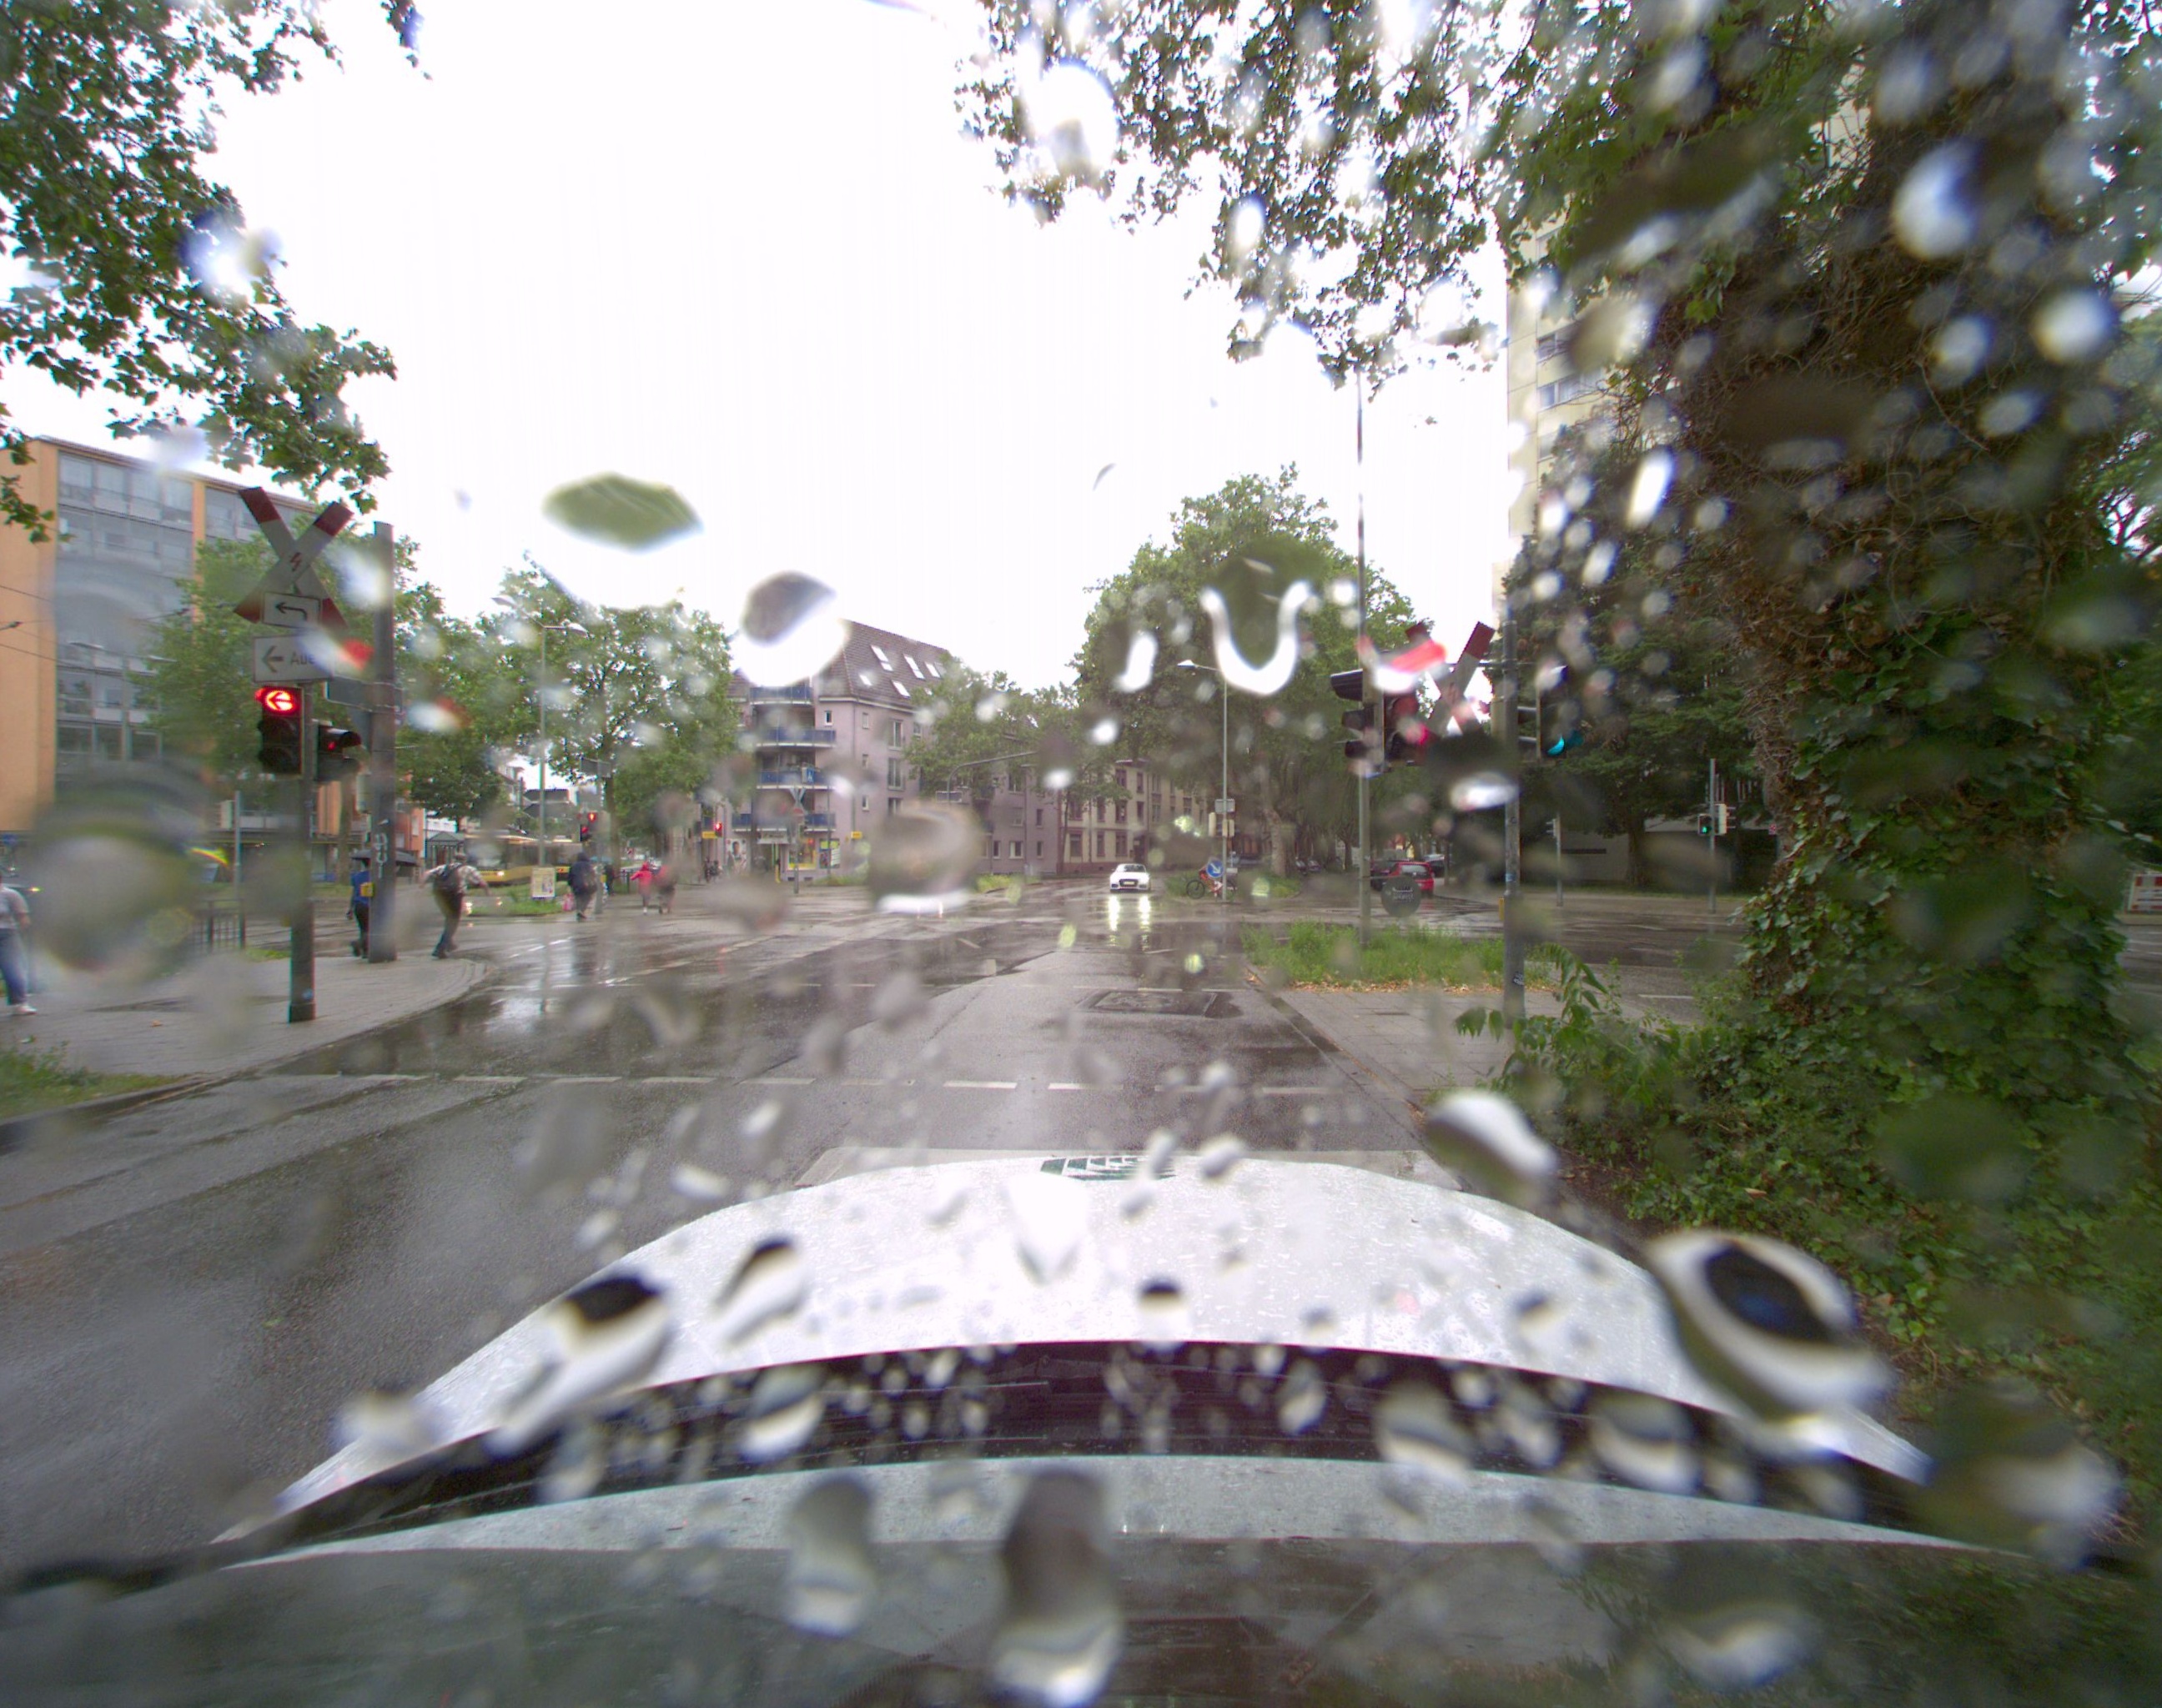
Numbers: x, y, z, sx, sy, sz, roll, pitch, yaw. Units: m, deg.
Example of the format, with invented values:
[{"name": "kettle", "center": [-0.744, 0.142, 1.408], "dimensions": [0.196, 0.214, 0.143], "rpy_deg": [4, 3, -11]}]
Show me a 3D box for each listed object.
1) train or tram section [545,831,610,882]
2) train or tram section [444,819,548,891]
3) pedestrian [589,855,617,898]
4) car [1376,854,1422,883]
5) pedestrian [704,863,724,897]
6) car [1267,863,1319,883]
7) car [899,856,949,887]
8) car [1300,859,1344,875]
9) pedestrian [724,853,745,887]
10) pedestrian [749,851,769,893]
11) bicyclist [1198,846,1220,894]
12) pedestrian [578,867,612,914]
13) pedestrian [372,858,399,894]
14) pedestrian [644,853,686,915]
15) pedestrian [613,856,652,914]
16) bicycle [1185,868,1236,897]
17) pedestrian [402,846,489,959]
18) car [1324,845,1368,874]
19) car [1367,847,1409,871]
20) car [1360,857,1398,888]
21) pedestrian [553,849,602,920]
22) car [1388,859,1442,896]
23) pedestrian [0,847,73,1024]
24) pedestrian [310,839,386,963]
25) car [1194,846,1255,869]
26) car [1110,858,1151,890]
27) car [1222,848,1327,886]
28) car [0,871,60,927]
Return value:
[{"name": "train or tram section", "center": [-39.193, 0.223, 63.833], "dimensions": [2.875, 3.545, 15.240], "rpy_deg": [0, 0, -26]}, {"name": "train or tram section", "center": [-36.339, 0.138, 51.300], "dimensions": [2.897, 3.768, 17.089], "rpy_deg": [0, -1, -28]}, {"name": "pedestrian", "center": [-20.191, 0.934, 34.420], "dimensions": [0.962, 1.766, 0.944], "rpy_deg": [0, -1, -28]}, {"name": "car", "center": [15.894, 0.702, 40.862], "dimensions": [1.770, 1.348, 3.945], "rpy_deg": [0, 1, 16]}, {"name": "pedestrian", "center": [-15.524, 1.102, 34.462], "dimensions": [0.653, 1.396, 0.774], "rpy_deg": [0, 0, -33]}, {"name": "car", "center": [16.951, 1.515, 65.217], "dimensions": [3.958, 1.486, 2.008], "rpy_deg": [-1, -1, 14]}, {"name": "car", "center": [-8.007, 0.861, 41.831], "dimensions": [1.745, 1.512, 3.839], "rpy_deg": [0, 0, 1]}, {"name": "car", "center": [23.134, 1.265, 78.253], "dimensions": [3.958, 1.547, 2.008], "rpy_deg": [-1, -1, 14]}, {"name": "pedestrian", "center": [-22.183, 0.997, 52.163], "dimensions": [0.903, 2.151, 0.889], "rpy_deg": [-1, -1, 7]}, {"name": "pedestrian", "center": [-14.475, 0.808, 36.612], "dimensions": [0.791, 1.855, 0.676], "rpy_deg": [0, 0, -22]}, {"name": "bicyclist", "center": [4.807, 0.600, 30.649], "dimensions": [0.790, 1.786, 0.699], "rpy_deg": [-1, -1, 9]}, {"name": "pedestrian", "center": [-14.221, 1.051, 23.845], "dimensions": [0.657, 1.349, 0.706], "rpy_deg": [0, 0, -12]}, {"name": "pedestrian", "center": [-34.382, 1.079, 40.281], "dimensions": [0.965, 1.766, 0.941], "rpy_deg": [0, -1, -39]}, {"name": "pedestrian", "center": [-11.437, 0.807, 22.395], "dimensions": [0.728, 1.624, 0.816], "rpy_deg": [-1, 1, -5]}, {"name": "pedestrian", "center": [-12.043, 0.830, 21.876], "dimensions": [0.681, 1.520, 0.658], "rpy_deg": [-1, 0, -5]}, {"name": "bicycle", "center": [4.882, 1.080, 30.639], "dimensions": [1.862, 1.081, 0.658], "rpy_deg": [-1, -1, 9]}, {"name": "pedestrian", "center": [-10.245, 0.744, 13.170], "dimensions": [0.867, 1.755, 0.826], "rpy_deg": [0, 0, -18]}, {"name": "car", "center": [28.319, 0.600, 87.209], "dimensions": [2.040, 2.948, 4.742], "rpy_deg": [0, -1, -18]}, {"name": "car", "center": [38.984, 0.656, 103.562], "dimensions": [2.006, 2.948, 4.726], "rpy_deg": [0, -1, -29]}, {"name": "car", "center": [17.325, 1.070, 47.418], "dimensions": [1.769, 1.727, 4.017], "rpy_deg": [-1, -1, 16]}, {"name": "pedestrian", "center": [-12.572, 0.737, 20.346], "dimensions": [0.844, 1.698, 0.680], "rpy_deg": [-4, 3, -42]}, {"name": "car", "center": [14.826, 0.986, 36.326], "dimensions": [1.778, 1.498, 4.017], "rpy_deg": [0, 0, 16]}, {"name": "pedestrian", "center": [-10.989, 0.800, 8.235], "dimensions": [0.684, 1.729, 0.752], "rpy_deg": [0, 0, -16]}, {"name": "pedestrian", "center": [-11.648, 0.711, 12.944], "dimensions": [0.876, 1.864, 0.881], "rpy_deg": [0, 0, -43]}, {"name": "car", "center": [9.460, 0.226, 53.568], "dimensions": [3.838, 1.486, 1.723], "rpy_deg": [-1, -1, 14]}, {"name": "car", "center": [2.391, 0.942, 39.224], "dimensions": [1.876, 1.436, 4.004], "rpy_deg": [0, 0, 4]}, {"name": "car", "center": [7.753, 0.523, 32.654], "dimensions": [3.958, 1.486, 2.008], "rpy_deg": [-1, -1, 14]}, {"name": "car", "center": [-32.214, 1.278, 23.600], "dimensions": [3.994, 1.530, 1.615], "rpy_deg": [0, 1, 12]}]
